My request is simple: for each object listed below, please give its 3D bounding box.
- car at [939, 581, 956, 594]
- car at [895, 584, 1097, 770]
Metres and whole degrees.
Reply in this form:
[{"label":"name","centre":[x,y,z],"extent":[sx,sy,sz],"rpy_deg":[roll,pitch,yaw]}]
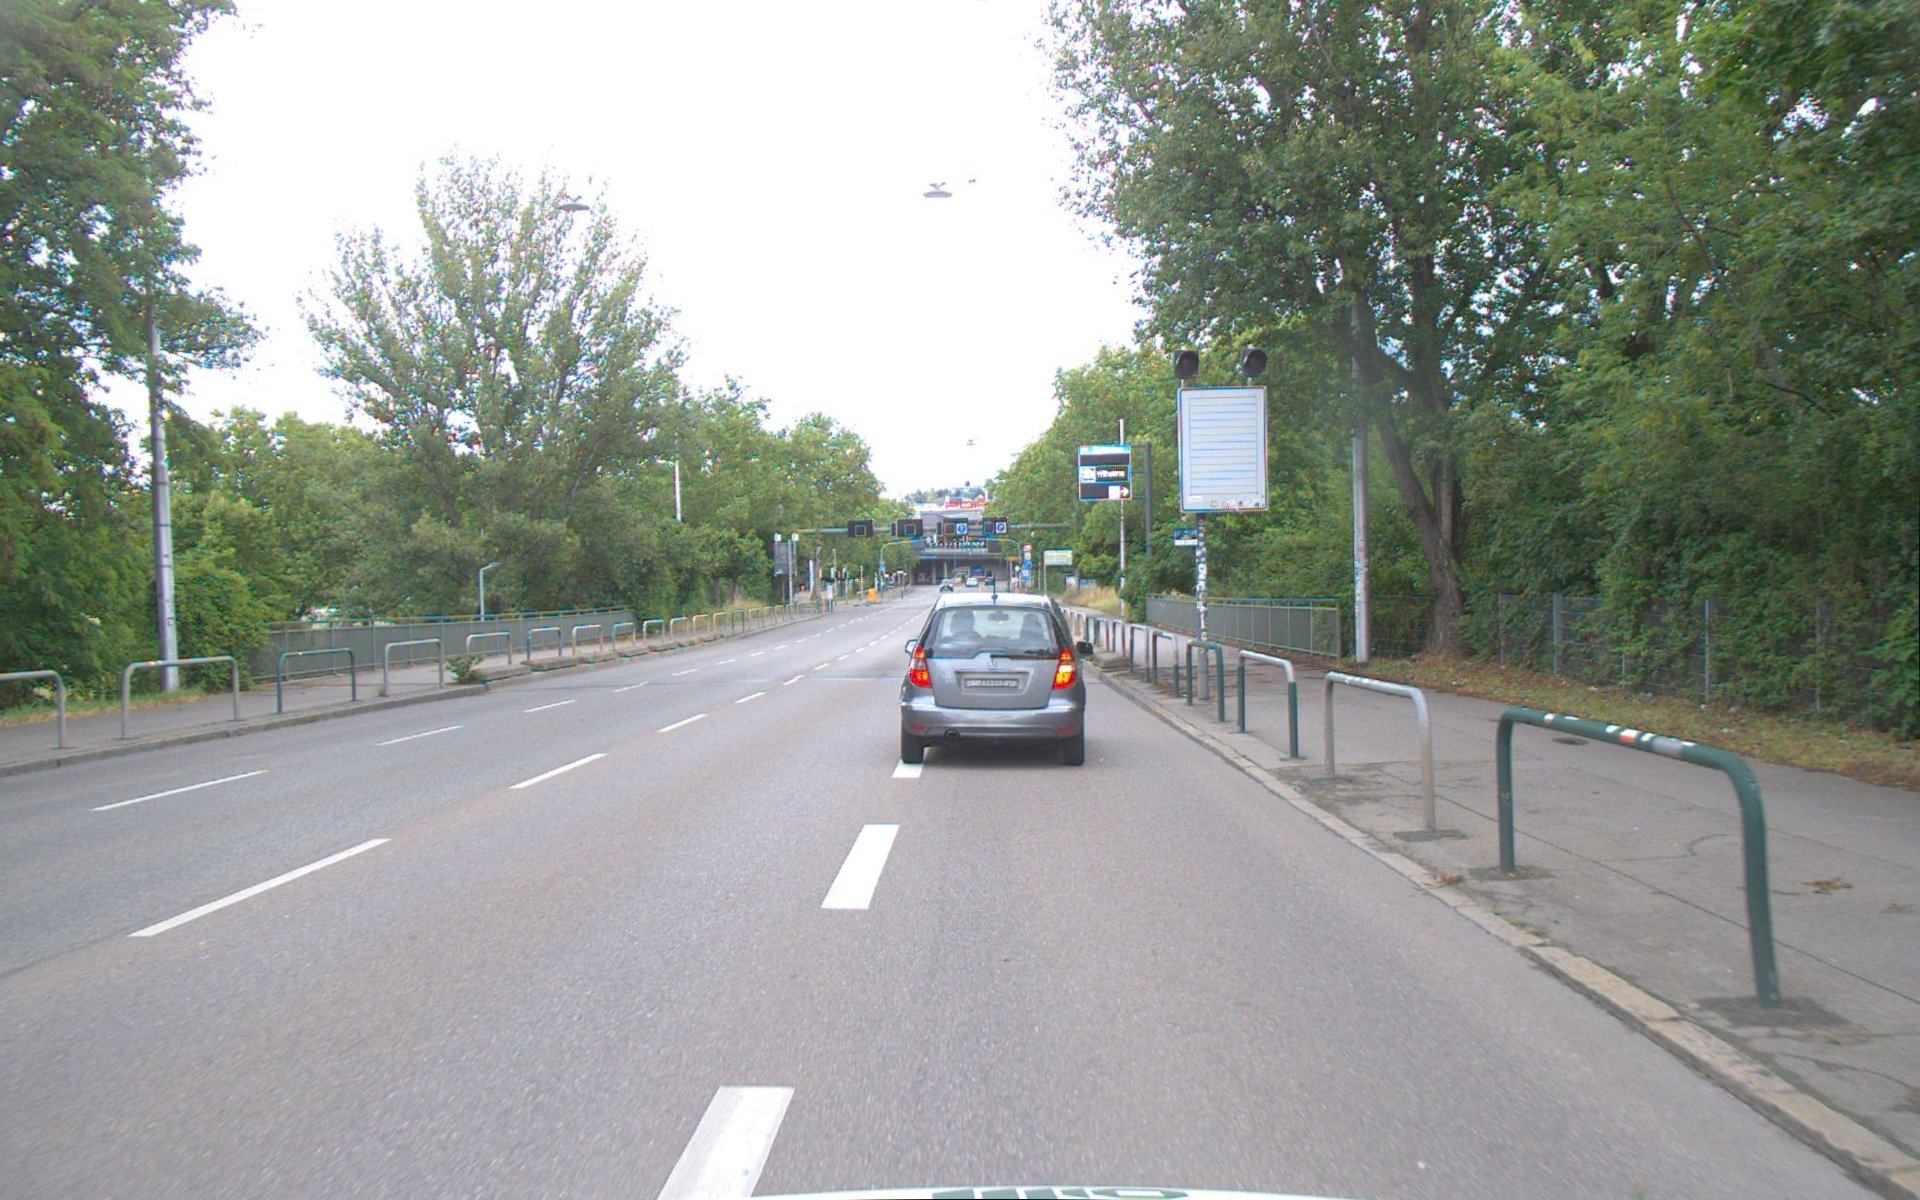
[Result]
[{"label":"car","centre":[-1.724,-1.741,230.557],"extent":[1.952,1.689,4.519],"rpy_deg":[-3,0,4]},{"label":"car","centre":[0.435,0.688,16.684],"extent":[1.788,1.644,4.036],"rpy_deg":[0,0,3]}]
